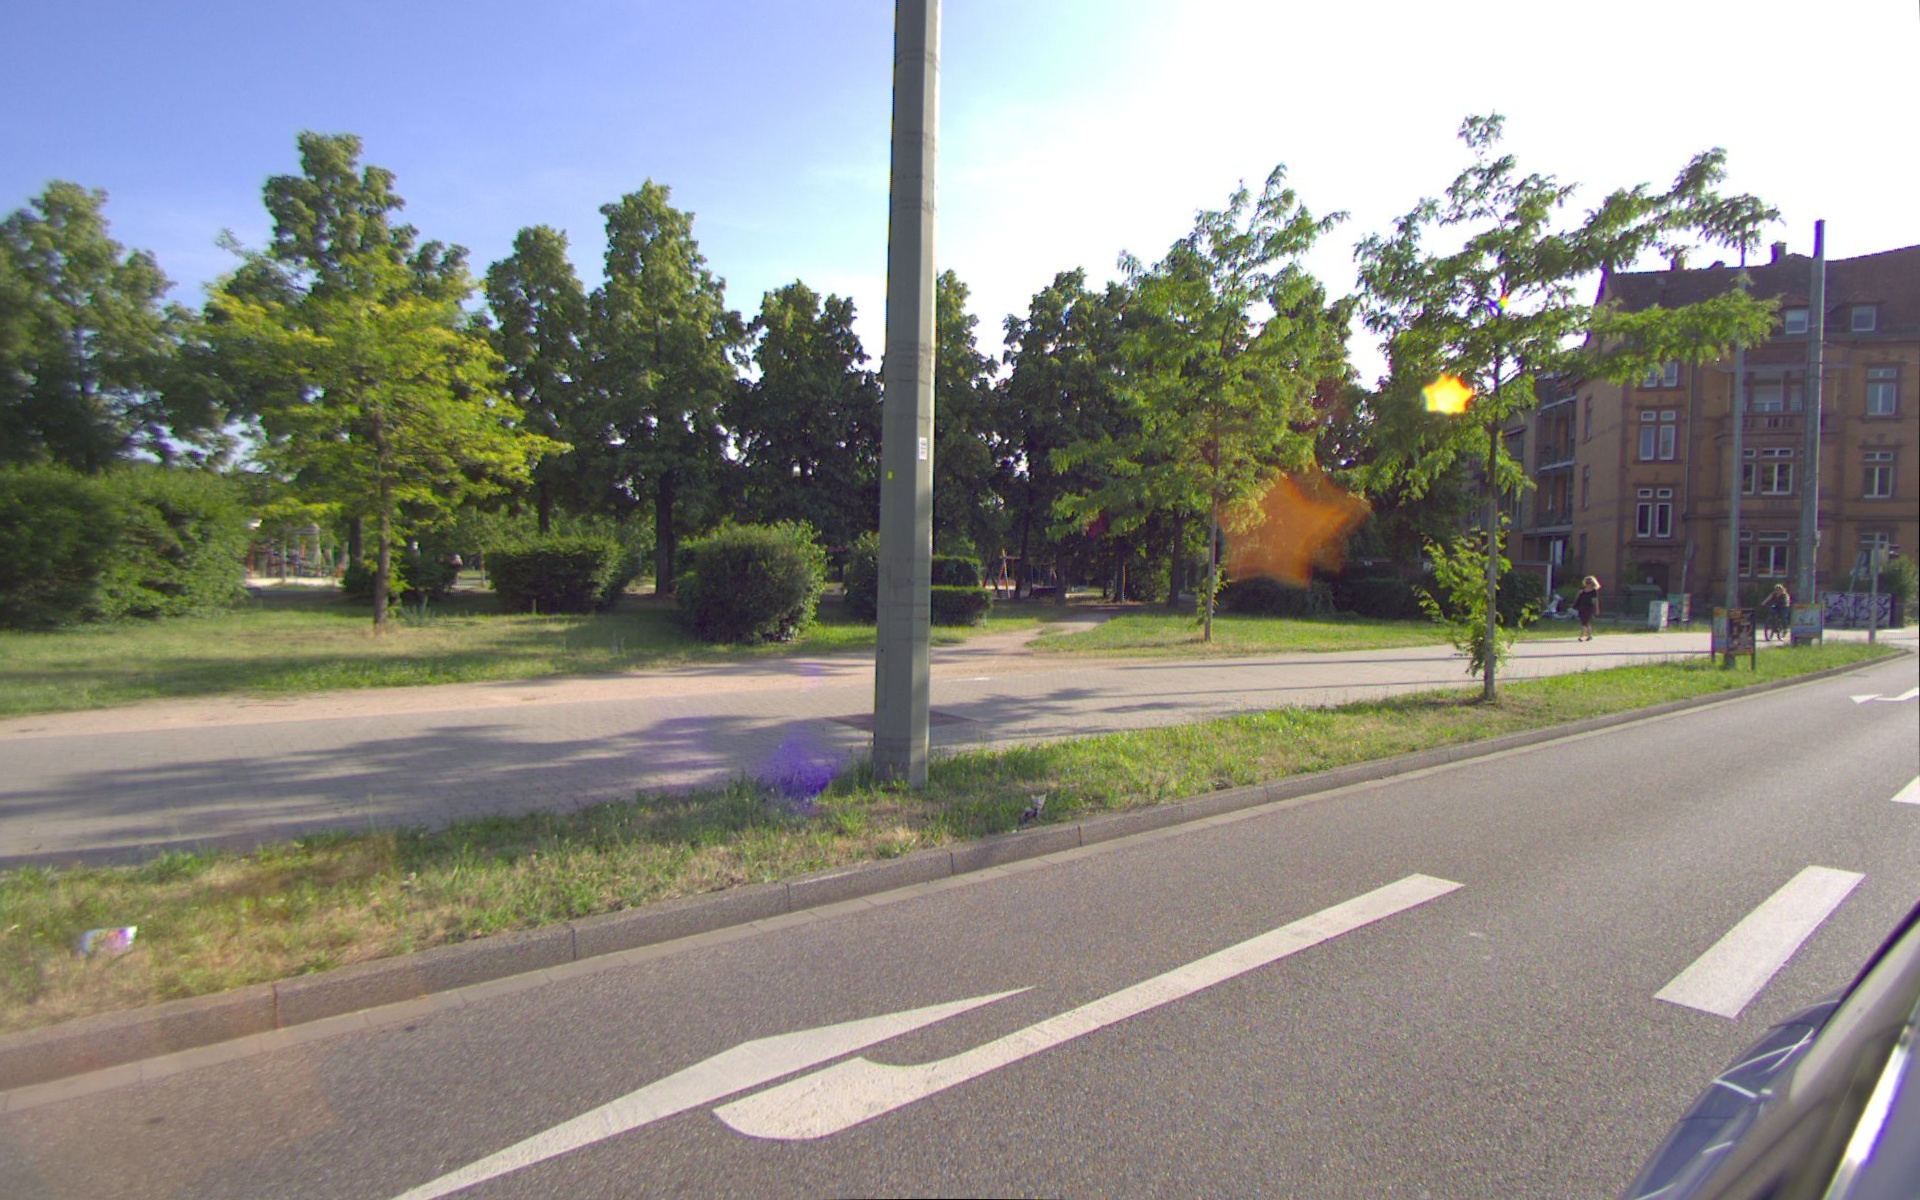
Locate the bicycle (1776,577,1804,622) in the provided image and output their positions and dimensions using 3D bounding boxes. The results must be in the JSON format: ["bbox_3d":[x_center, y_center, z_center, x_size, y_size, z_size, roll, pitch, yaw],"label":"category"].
[{"bbox_3d":[24.968,-0.027,30.454,0.571,1.314,0.680,1,0,33],"label":"bicycle"}]

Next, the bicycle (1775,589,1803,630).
[{"bbox_3d":[25.000,0.273,30.525,0.481,1.205,1.324,1,1,32],"label":"bicycle"}]

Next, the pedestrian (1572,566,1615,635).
[{"bbox_3d":[16.300,0.009,26.056,0.538,1.711,0.617,1,6,-36],"label":"pedestrian"}]

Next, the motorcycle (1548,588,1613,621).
[{"bbox_3d":[23.424,0.153,38.232,0.696,1.174,1.997,0,1,-45],"label":"motorcycle"}]
